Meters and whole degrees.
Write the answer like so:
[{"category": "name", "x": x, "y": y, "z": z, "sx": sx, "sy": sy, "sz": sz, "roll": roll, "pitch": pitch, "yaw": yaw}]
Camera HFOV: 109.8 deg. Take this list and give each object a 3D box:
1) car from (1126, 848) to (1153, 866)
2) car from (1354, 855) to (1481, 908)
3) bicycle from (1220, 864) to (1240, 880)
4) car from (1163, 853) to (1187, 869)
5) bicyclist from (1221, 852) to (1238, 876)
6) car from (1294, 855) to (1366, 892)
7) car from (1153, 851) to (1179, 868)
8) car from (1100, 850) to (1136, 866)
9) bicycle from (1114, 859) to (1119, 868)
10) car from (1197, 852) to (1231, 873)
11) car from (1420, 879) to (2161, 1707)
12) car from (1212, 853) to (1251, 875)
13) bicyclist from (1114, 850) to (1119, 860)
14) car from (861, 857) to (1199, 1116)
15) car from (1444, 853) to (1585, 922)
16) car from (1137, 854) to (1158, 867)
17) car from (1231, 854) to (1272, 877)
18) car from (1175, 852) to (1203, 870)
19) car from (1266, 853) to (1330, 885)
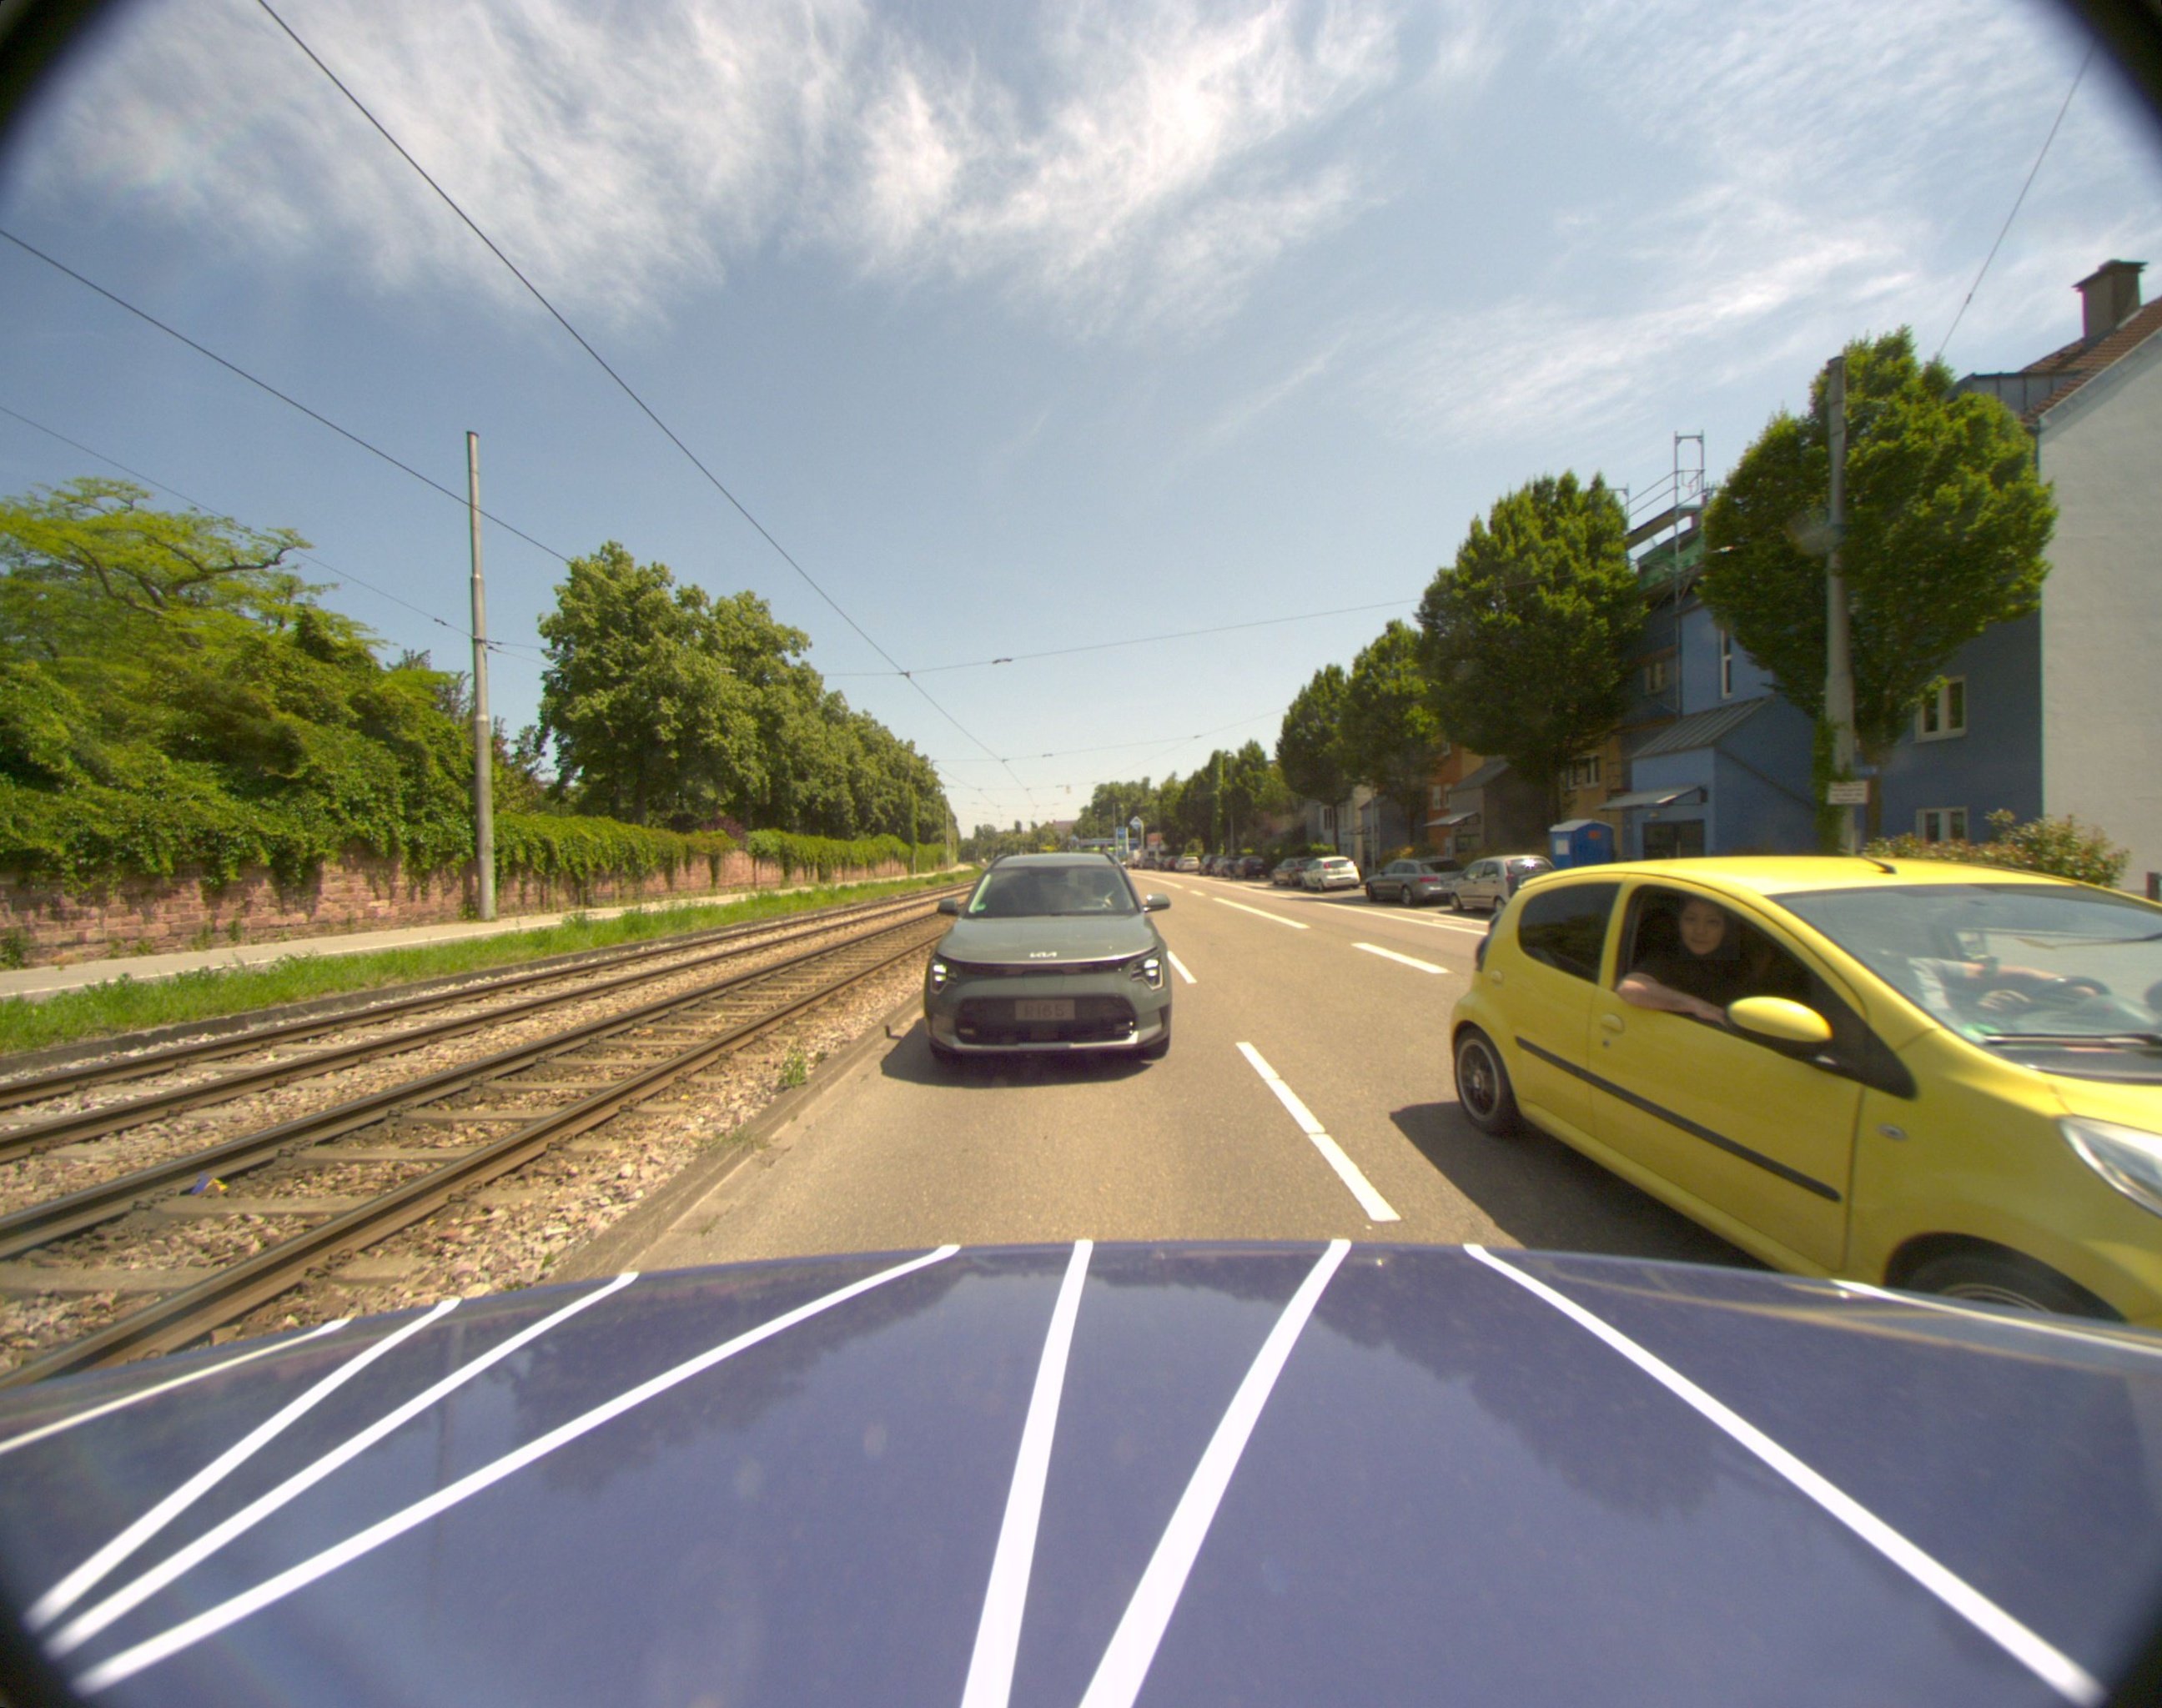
[{"category": "car", "x": 7.665, "y": 0.424, "z": 100.088, "sx": 2.285, "sy": 2.294, "sz": 5.226, "roll": -3, "pitch": 0, "yaw": -8}, {"category": "car", "x": 10.976, "y": 0.854, "z": 25.252, "sx": 1.791, "sy": 1.441, "sz": 5.133, "roll": -5, "pitch": -1, "yaw": 0}, {"category": "bicycle", "x": 9.180, "y": 1.100, "z": 46.841, "sx": 0.703, "sy": 0.945, "sz": 2.243, "roll": 1, "pitch": -1, "yaw": -2}, {"category": "car", "x": 9.845, "y": 0.727, "z": 79.946, "sx": 1.604, "sy": 1.584, "sz": 3.680, "roll": -3, "pitch": 0, "yaw": -6}, {"category": "bicyclist", "x": 9.157, "y": 0.603, "z": 46.764, "sx": 0.737, "sy": 1.422, "sz": 1.124, "roll": 2, "pitch": 0, "yaw": -2}, {"category": "car", "x": 11.392, "y": 0.844, "z": 35.113, "sx": 1.750, "sy": 1.434, "sz": 4.420, "roll": -6, "pitch": 0, "yaw": 0}, {"category": "car", "x": 9.516, "y": 0.558, "z": 85.154, "sx": 1.999, "sy": 1.783, "sz": 4.556, "roll": -2, "pitch": 0, "yaw": -5}, {"category": "car", "x": 5.938, "y": 0.623, "z": 121.356, "sx": 5.219, "sy": 2.294, "sz": 2.288, "roll": -3, "pitch": 0, "yaw": 16}, {"category": "bicycle", "x": 5.037, "y": 1.352, "z": 108.459, "sx": 0.641, "sy": 1.089, "sz": 1.638, "roll": 1, "pitch": 1, "yaw": 1}, {"category": "car", "x": 10.933, "y": 0.716, "z": 62.733, "sx": 1.772, "sy": 1.579, "sz": 4.147, "roll": -3, "pitch": 0, "yaw": -3}, {"category": "car", "x": 2.823, "y": 0.882, "z": 2.612, "sx": 1.695, "sy": 1.403, "sz": 3.515, "roll": -3, "pitch": 0, "yaw": 0}, {"category": "car", "x": 11.192, "y": 0.744, "z": 56.912, "sx": 1.830, "sy": 1.487, "sz": 4.756, "roll": -3, "pitch": 0, "yaw": -1}, {"category": "bicyclist", "x": 5.055, "y": 0.167, "z": 108.364, "sx": 0.737, "sy": 1.496, "sz": 0.737, "roll": 0, "pitch": 1, "yaw": 1}, {"category": "car", "x": -0.226, "y": 0.857, "z": 6.822, "sx": 2.062, "sy": 1.534, "sz": 4.001, "roll": -3, "pitch": 0, "yaw": 3}, {"category": "car", "x": 11.037, "y": 0.793, "z": 19.633, "sx": 1.597, "sy": 1.487, "sz": 3.448, "roll": -6, "pitch": 0, "yaw": 1}, {"category": "car", "x": 8.179, "y": 0.821, "z": 94.019, "sx": 1.870, "sy": 1.528, "sz": 4.142, "roll": -3, "pitch": 0, "yaw": -4}, {"category": "car", "x": 11.521, "y": 0.737, "z": 51.622, "sx": 1.754, "sy": 1.424, "sz": 4.257, "roll": -4, "pitch": 0, "yaw": 0}, {"category": "car", "x": 10.454, "y": 0.693, "z": 74.054, "sx": 1.845, "sy": 1.573, "sz": 4.495, "roll": -3, "pitch": 0, "yaw": -2}, {"category": "car", "x": 11.490, "y": 0.786, "z": 40.559, "sx": 1.708, "sy": 1.421, "sz": 4.750, "roll": -6, "pitch": 0, "yaw": -3}]
